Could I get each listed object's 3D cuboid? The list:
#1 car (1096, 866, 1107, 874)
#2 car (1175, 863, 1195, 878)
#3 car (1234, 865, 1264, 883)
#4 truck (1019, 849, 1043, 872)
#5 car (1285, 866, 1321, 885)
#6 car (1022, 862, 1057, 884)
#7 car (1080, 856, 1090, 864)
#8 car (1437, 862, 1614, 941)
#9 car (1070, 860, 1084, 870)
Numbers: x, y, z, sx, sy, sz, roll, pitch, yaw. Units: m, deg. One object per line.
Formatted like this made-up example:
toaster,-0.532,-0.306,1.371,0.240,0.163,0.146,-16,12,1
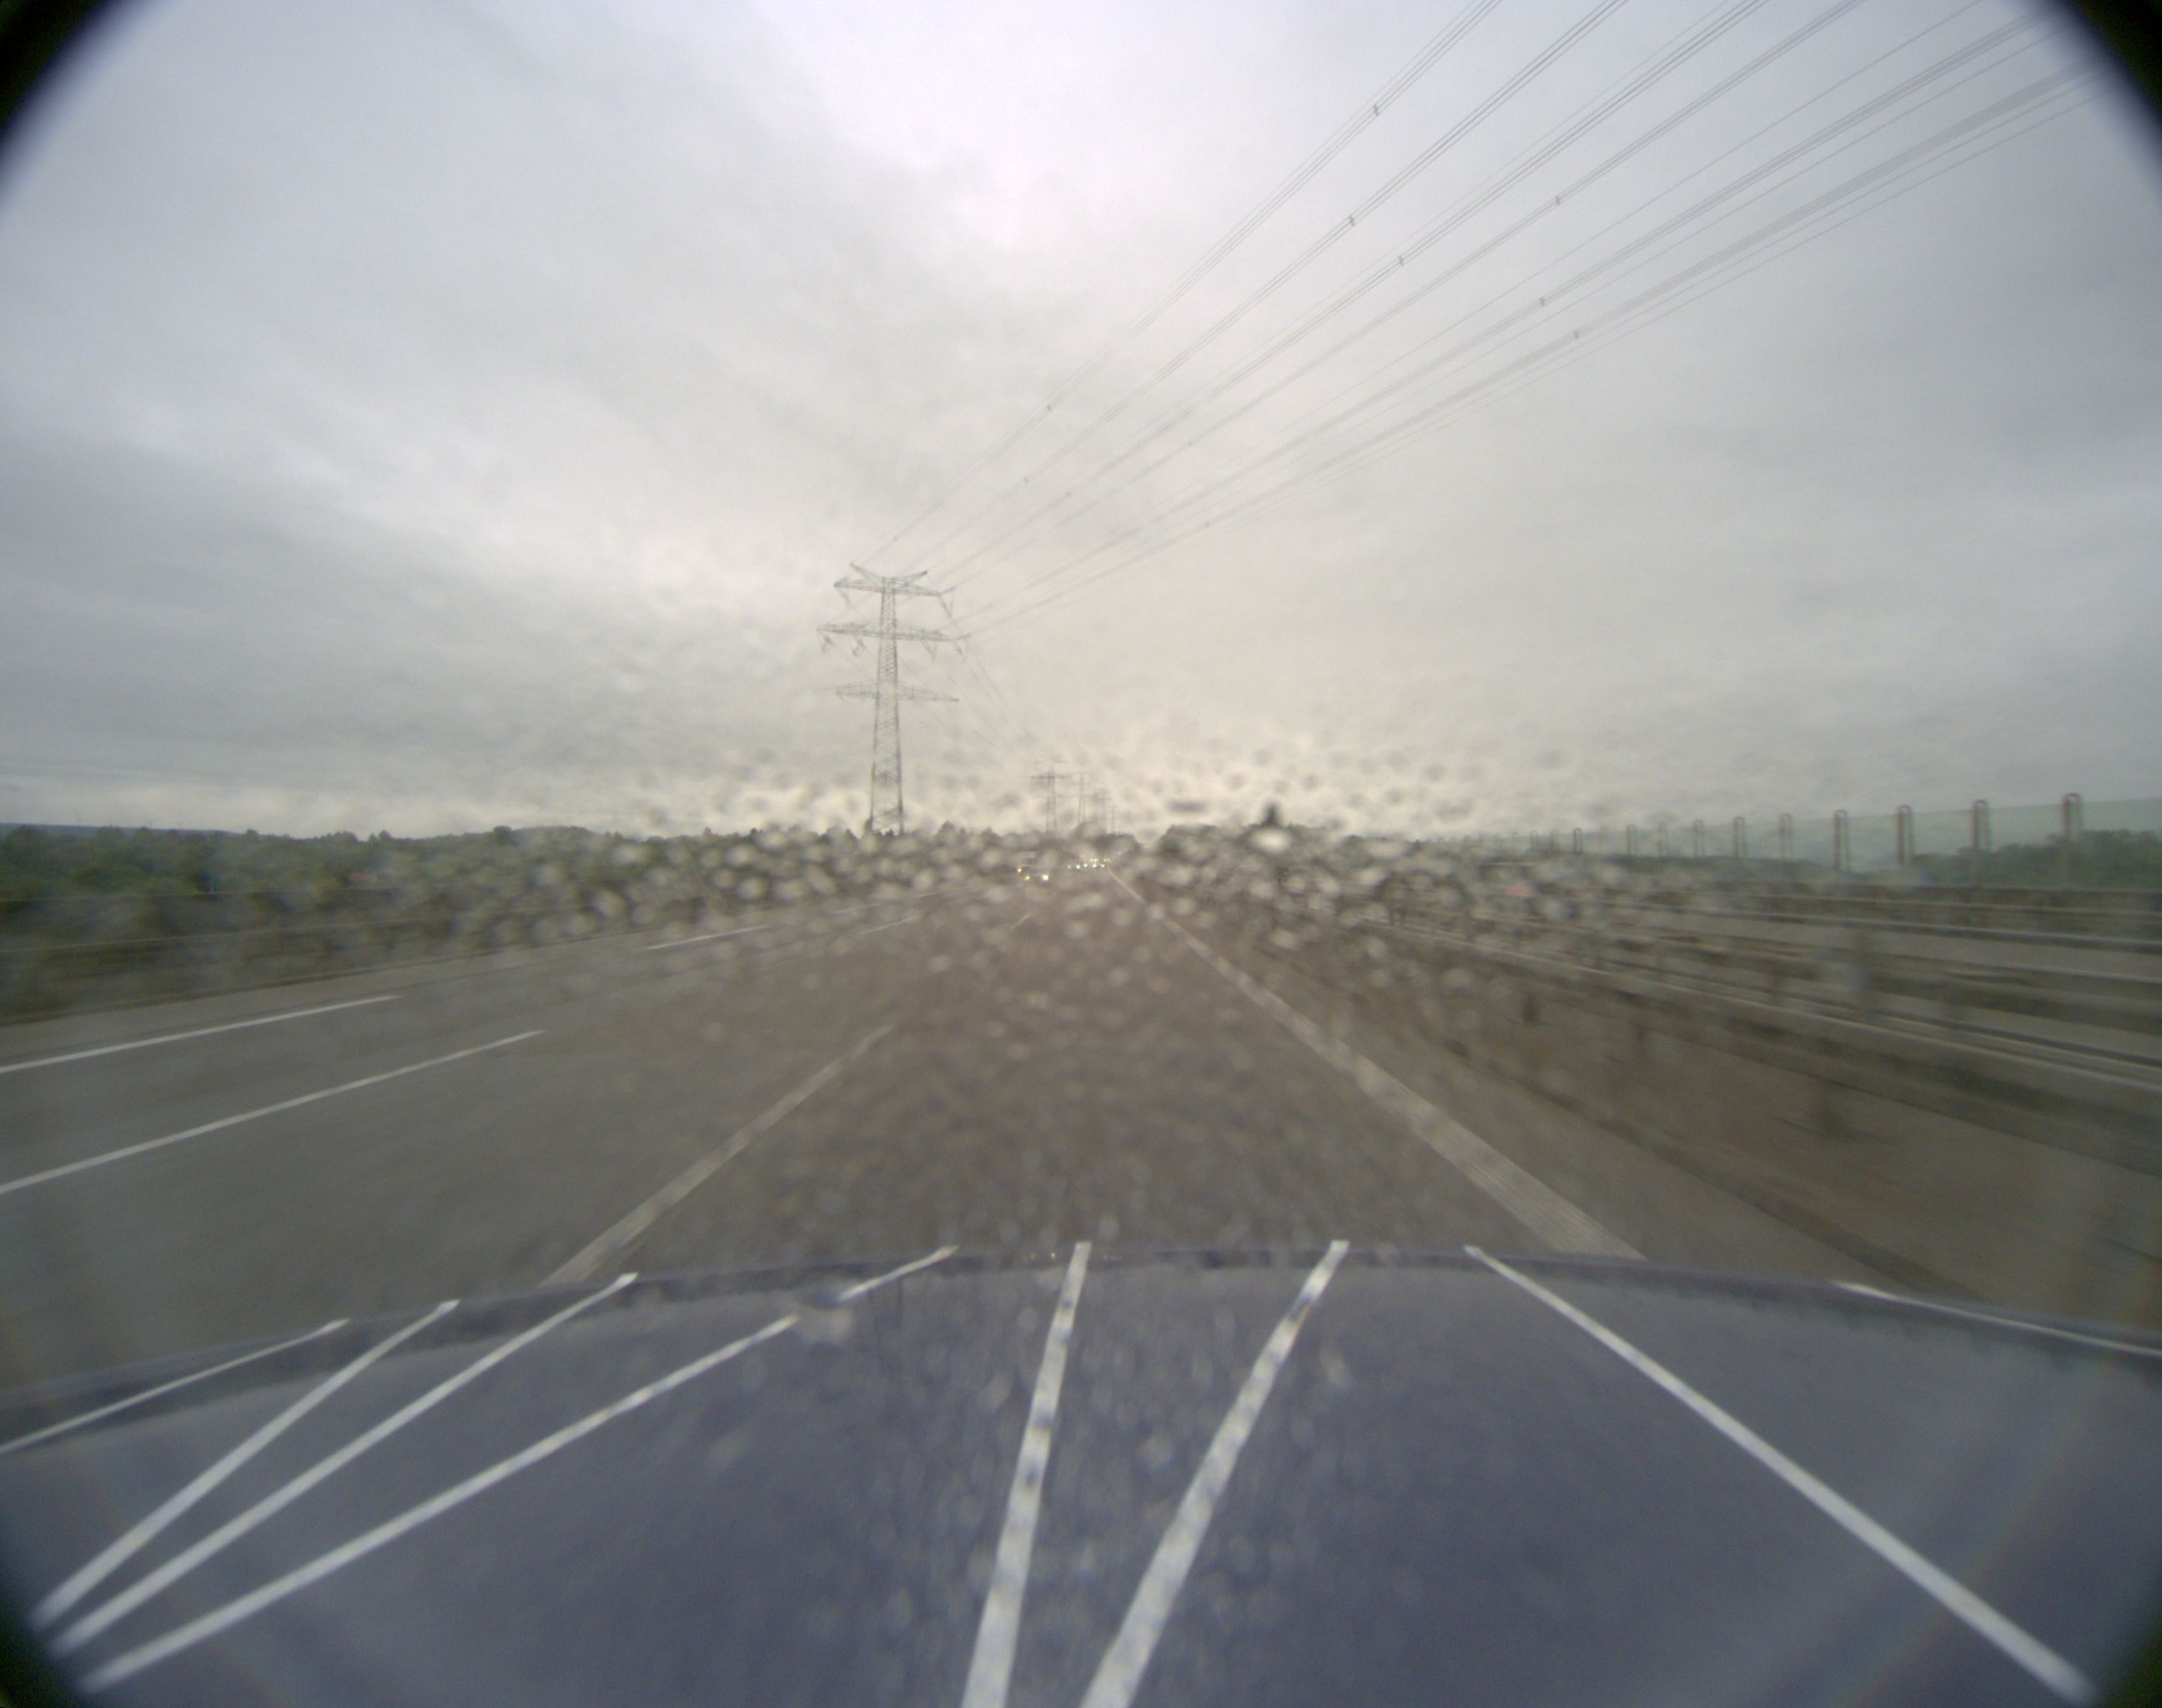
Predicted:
car,3.865,3.070,146.168,1.998,1.418,4.000,-2,0,3
car,10.926,1.741,80.115,1.660,1.428,4.089,1,0,1
car,14.842,1.734,67.260,1.820,1.428,4.089,1,0,1
truck,-7.233,0.905,111.436,2.649,3.325,6.932,-2,0,3
car,18.287,1.749,62.729,1.820,1.380,4.089,1,0,1
car,-2.917,1.322,54.097,1.998,1.418,4.000,-2,0,3
car,0.844,1.268,161.385,1.856,1.418,4.000,-2,0,3
car,9.861,0.986,17.231,1.833,1.584,3.816,0,0,1
car,-0.572,1.741,118.737,1.998,1.418,4.000,-2,0,3
